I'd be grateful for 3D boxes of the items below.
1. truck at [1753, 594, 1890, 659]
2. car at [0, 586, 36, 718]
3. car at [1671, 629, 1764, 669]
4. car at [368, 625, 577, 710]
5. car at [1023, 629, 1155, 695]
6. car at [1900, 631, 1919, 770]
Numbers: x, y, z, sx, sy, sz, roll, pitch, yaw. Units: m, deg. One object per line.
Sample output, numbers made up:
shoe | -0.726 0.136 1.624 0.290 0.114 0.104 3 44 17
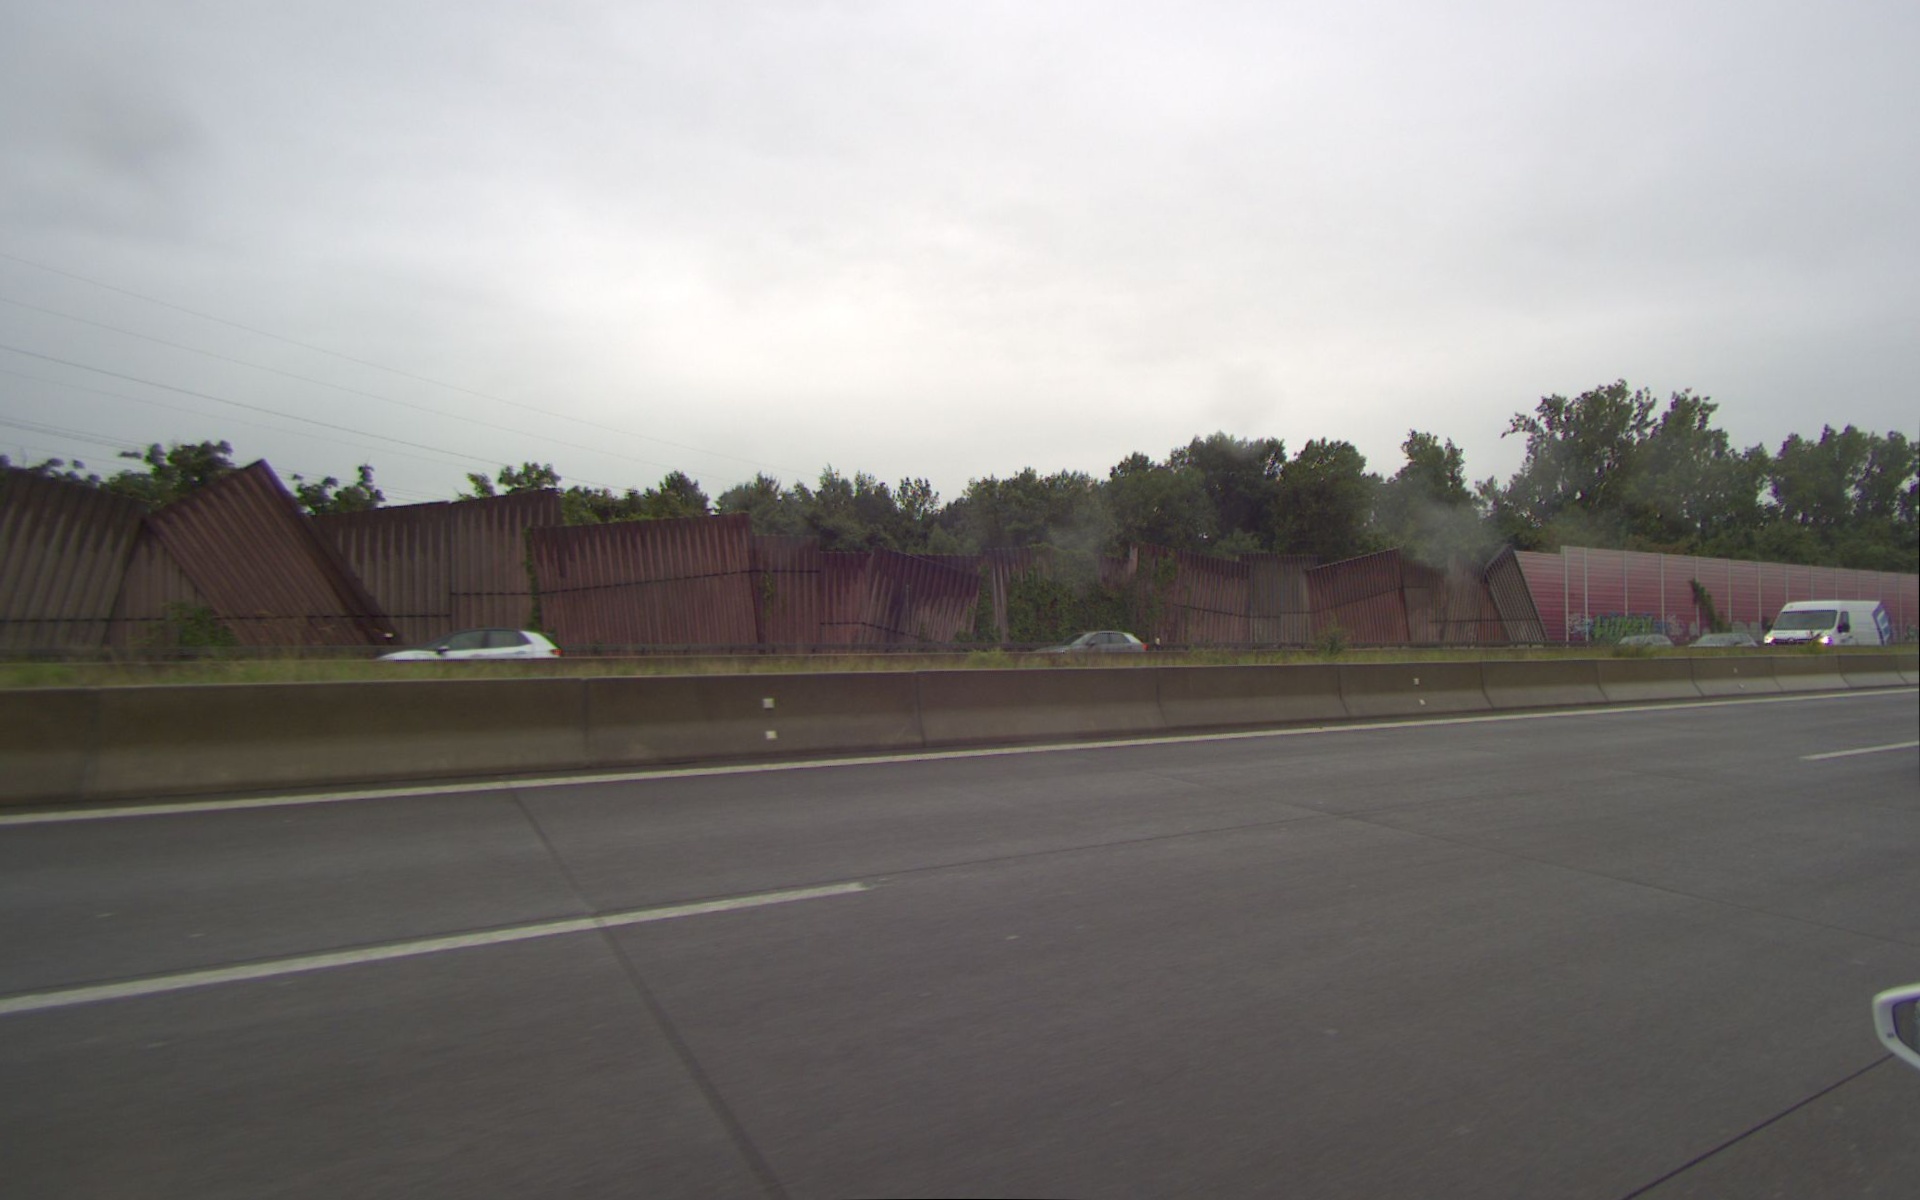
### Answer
truck | 31.573 0.960 36.763 5.354 2.235 2.135 1 -1 -30
car | -15.614 0.667 12.914 5.150 1.808 1.983 1 -1 -31
car | 35.328 2.245 46.823 4.213 1.762 1.985 1 -1 -30
car | -11.437 1.516 23.634 4.241 1.808 1.983 1 -1 -31
car | 4.304 2.013 33.439 3.952 2.040 1.985 1 -1 -30
car | 12.264 1.080 10.917 4.772 1.421 1.717 1 0 -30
